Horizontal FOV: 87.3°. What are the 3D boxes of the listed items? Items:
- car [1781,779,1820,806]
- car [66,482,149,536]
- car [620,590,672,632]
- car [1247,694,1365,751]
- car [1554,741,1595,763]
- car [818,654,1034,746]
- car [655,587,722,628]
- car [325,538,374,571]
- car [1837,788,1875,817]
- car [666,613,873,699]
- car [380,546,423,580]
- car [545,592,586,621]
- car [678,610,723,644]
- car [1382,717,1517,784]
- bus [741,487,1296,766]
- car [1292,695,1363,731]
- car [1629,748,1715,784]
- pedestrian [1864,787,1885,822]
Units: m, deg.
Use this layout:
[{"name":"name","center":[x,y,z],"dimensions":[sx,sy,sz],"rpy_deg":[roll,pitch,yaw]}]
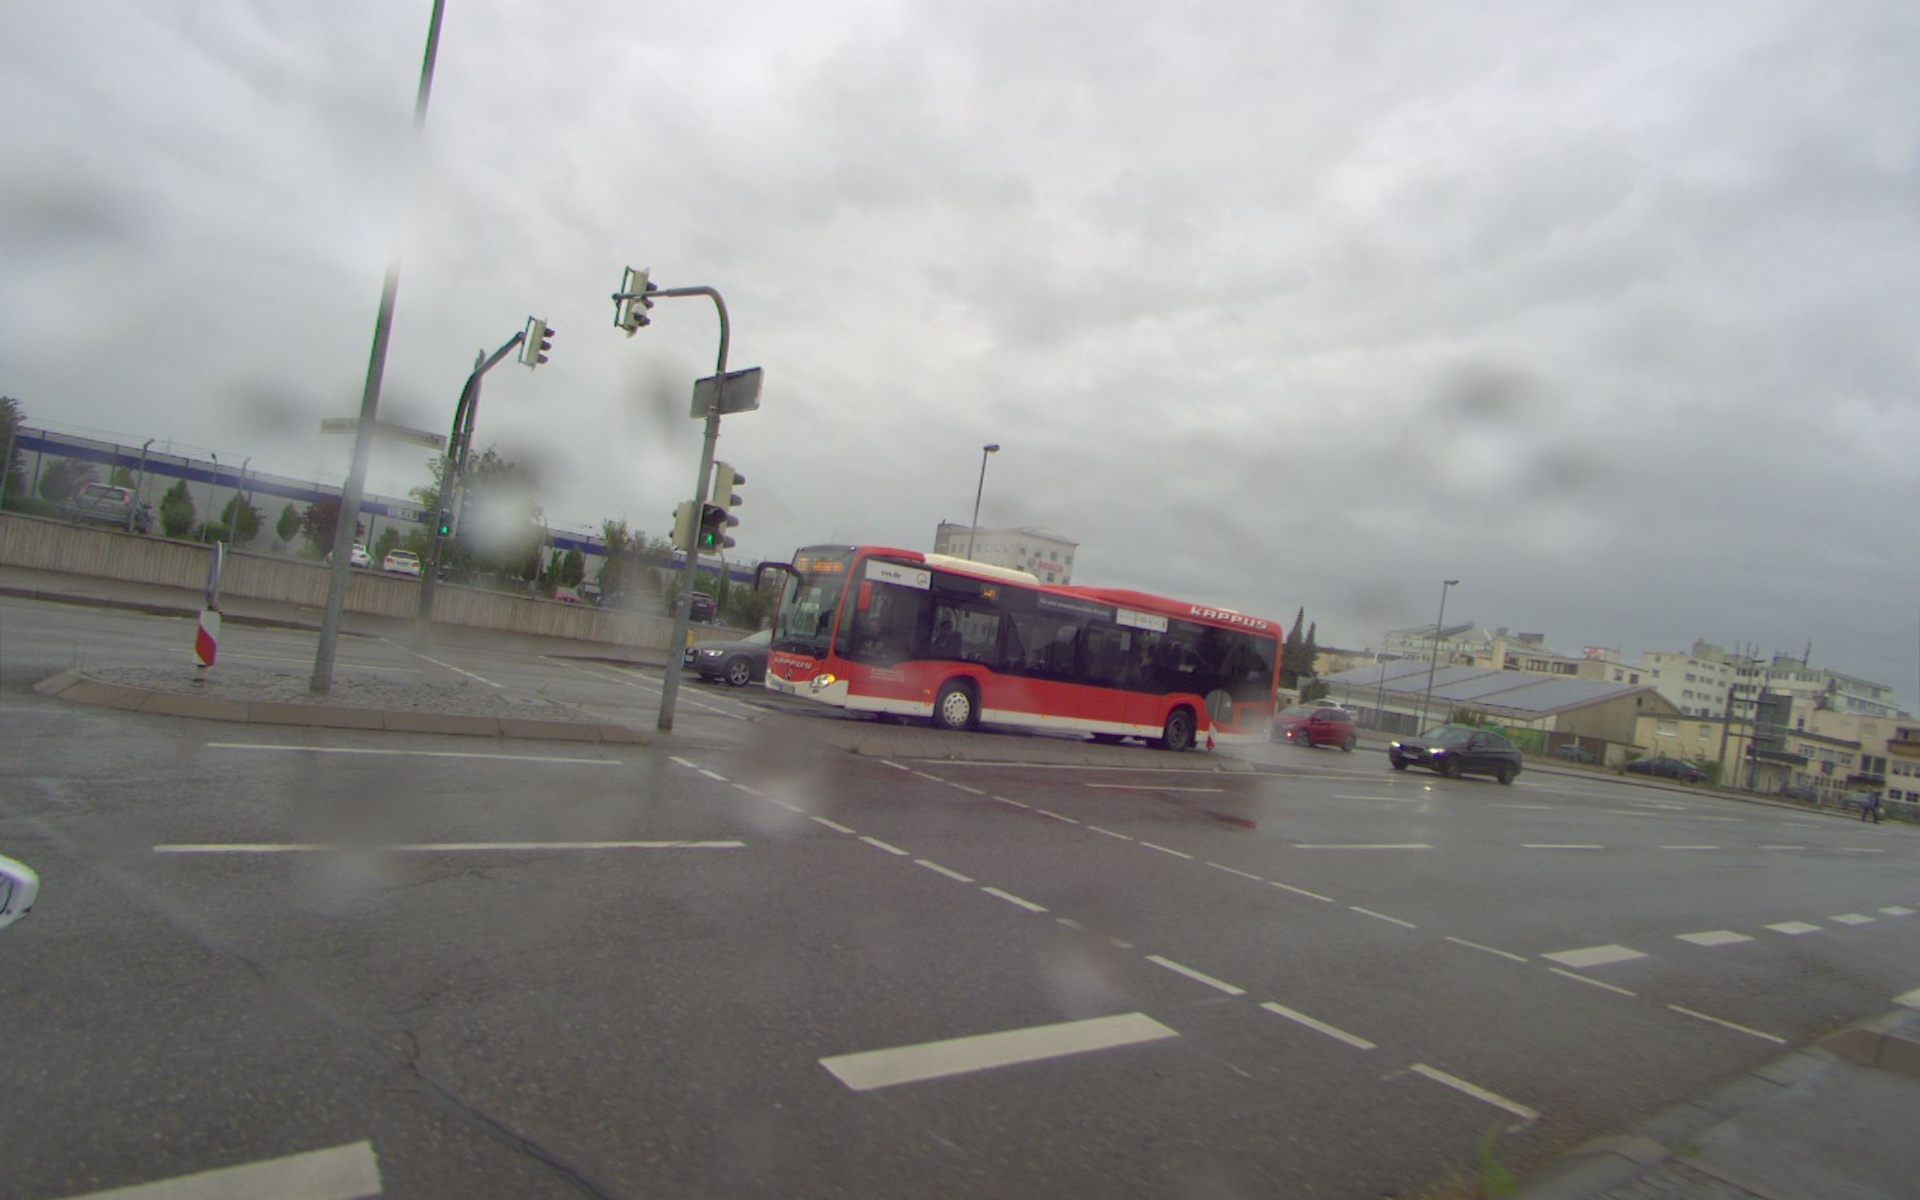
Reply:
[{"name":"car","center":[67.875,15.546,81.220],"dimensions":[1.974,1.747,3.982],"rpy_deg":[7,-3,44]},{"name":"car","center":[-31.680,-3.352,37.492],"dimensions":[1.732,1.571,3.501],"rpy_deg":[9,-2,-32]},{"name":"car","center":[-18.074,0.590,57.817],"dimensions":[1.732,2.037,3.792],"rpy_deg":[8,-2,-32]},{"name":"car","center":[12.482,4.433,36.273],"dimensions":[3.942,1.525,1.856],"rpy_deg":[9,-2,-32]},{"name":"car","center":[56.981,14.095,93.317],"dimensions":[3.610,1.436,1.723],"rpy_deg":[10,-2,-32]},{"name":"car","center":[-0.707,2.315,22.964],"dimensions":[4.558,1.484,1.883],"rpy_deg":[10,-3,-38]},{"name":"car","center":[-13.153,0.326,48.551],"dimensions":[1.696,1.577,4.152],"rpy_deg":[9,-2,-34]},{"name":"car","center":[-32.862,-2.427,54.263],"dimensions":[1.803,1.450,4.077],"rpy_deg":[9,-2,-27]},{"name":"car","center":[69.850,15.767,78.409],"dimensions":[1.974,1.747,3.982],"rpy_deg":[7,-3,44]},{"name":"car","center":[-4.420,1.350,23.700],"dimensions":[4.361,1.369,1.807],"rpy_deg":[10,-3,-38]},{"name":"car","center":[-31.028,-2.061,55.843],"dimensions":[1.845,1.543,4.073],"rpy_deg":[9,-2,-30]},{"name":"car","center":[-27.456,0.451,69.965],"dimensions":[1.909,1.607,3.760],"rpy_deg":[9,-2,-30]},{"name":"car","center":[-19.329,2.009,74.924],"dimensions":[1.980,2.036,3.968],"rpy_deg":[9,-2,-32]},{"name":"car","center":[14.372,4.420,29.465],"dimensions":[3.968,1.515,1.835],"rpy_deg":[9,-3,-37]},{"name":"bus","center":[1.918,0.943,20.850],"dimensions":[12.206,3.614,2.957],"rpy_deg":[12,-4,-37]},{"name":"car","center":[23.133,7.111,63.486],"dimensions":[1.973,1.560,3.983],"rpy_deg":[9,-2,-20]},{"name":"car","center":[45.440,10.570,64.276],"dimensions":[1.982,1.469,3.966],"rpy_deg":[10,-2,-33]},{"name":"pedestrian","center":[48.612,10.871,53.482],"dimensions":[0.689,1.684,0.674],"rpy_deg":[7,-2,44]}]
